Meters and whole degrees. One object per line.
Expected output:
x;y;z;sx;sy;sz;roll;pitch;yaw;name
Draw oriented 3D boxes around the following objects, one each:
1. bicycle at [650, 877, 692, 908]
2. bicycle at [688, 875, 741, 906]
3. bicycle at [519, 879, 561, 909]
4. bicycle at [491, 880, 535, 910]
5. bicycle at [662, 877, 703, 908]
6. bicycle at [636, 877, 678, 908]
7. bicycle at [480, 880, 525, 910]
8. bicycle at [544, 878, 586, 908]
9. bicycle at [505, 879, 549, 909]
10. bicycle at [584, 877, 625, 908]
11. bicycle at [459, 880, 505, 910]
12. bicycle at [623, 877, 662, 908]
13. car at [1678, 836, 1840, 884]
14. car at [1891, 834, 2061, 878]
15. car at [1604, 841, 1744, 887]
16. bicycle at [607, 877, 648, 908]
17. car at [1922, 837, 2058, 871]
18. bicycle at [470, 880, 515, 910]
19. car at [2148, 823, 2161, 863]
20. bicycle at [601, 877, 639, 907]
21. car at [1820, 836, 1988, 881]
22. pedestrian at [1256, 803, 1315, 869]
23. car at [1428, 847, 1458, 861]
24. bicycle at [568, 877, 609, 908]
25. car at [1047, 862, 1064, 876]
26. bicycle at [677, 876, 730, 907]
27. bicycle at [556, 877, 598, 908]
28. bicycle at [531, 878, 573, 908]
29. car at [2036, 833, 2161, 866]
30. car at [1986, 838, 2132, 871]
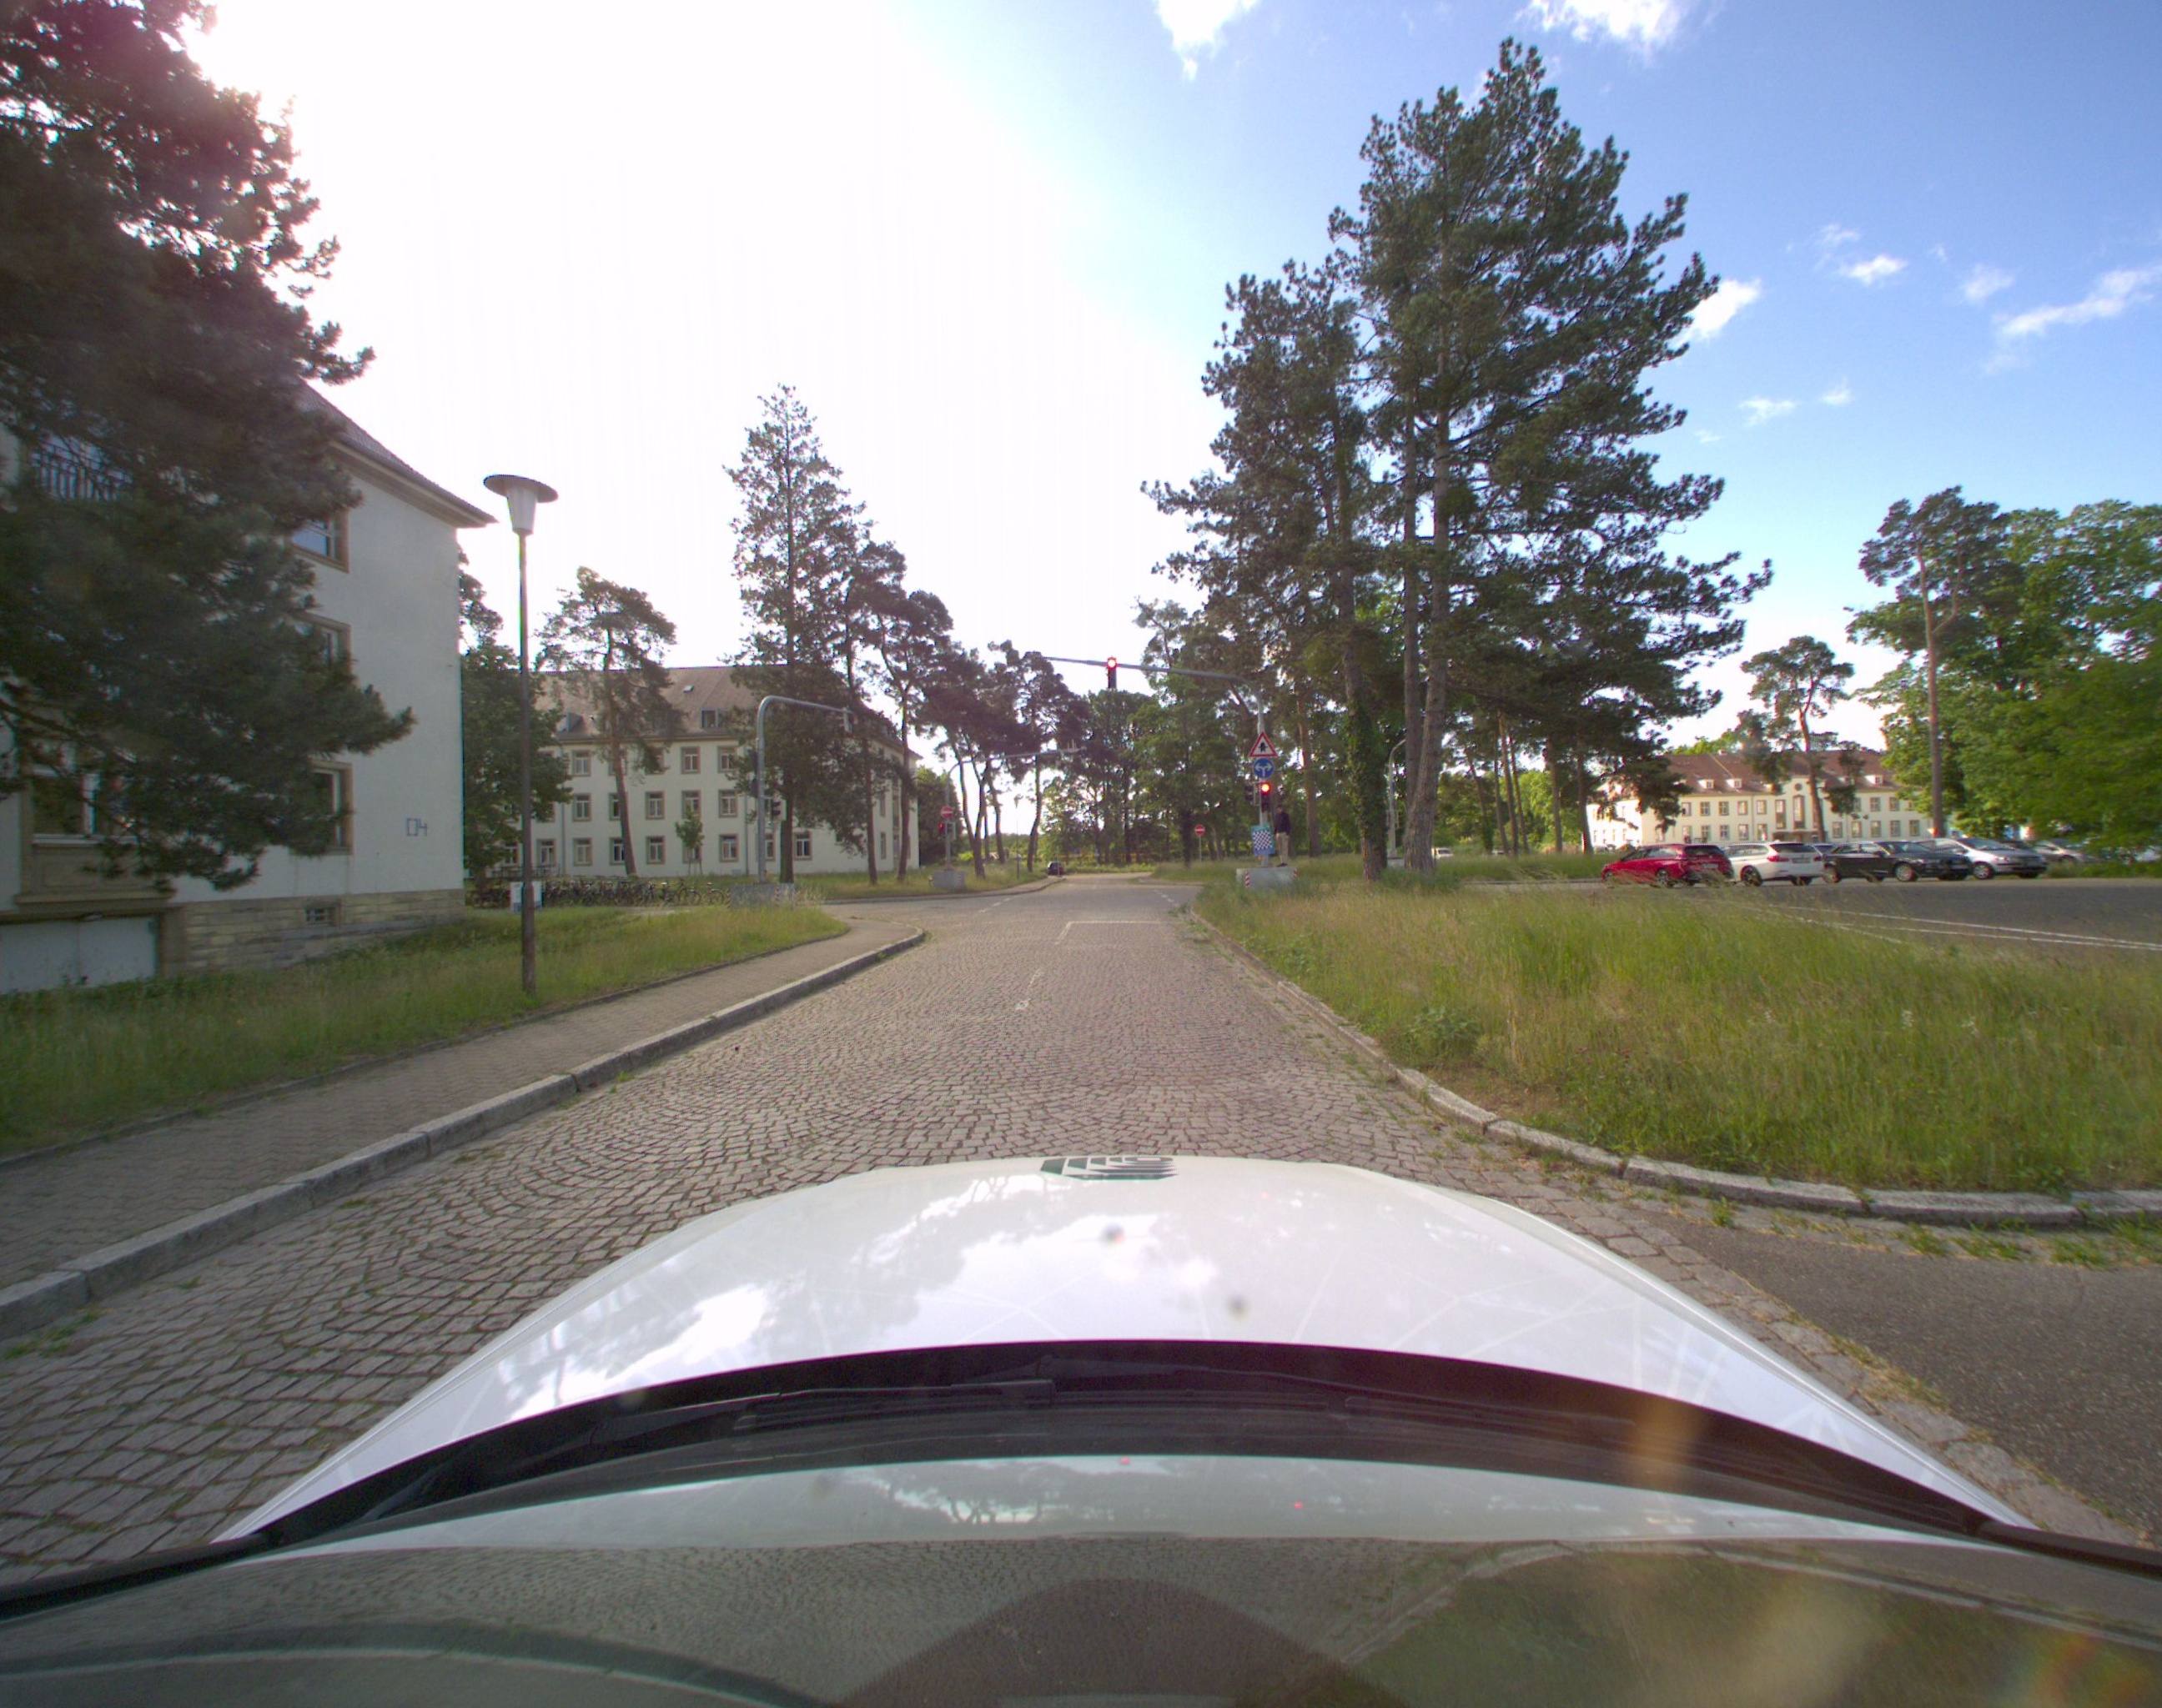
-17.480;1.629;34.786;0.630;1.220;2.124;-2;0;1;bicycle
-15.638;1.549;34.726;1.937;1.220;0.635;-2;-1;1;bicycle
-23.545;1.714;35.482;0.512;1.220;1.938;-2;0;1;bicycle
-24.746;1.772;35.504;0.512;1.220;1.938;-2;0;1;bicycle
-16.996;1.625;34.789;0.630;1.220;2.115;-2;0;1;bicycle
-18.084;1.634;34.801;0.630;1.220;2.105;-2;0;1;bicycle
-25.210;1.776;35.513;0.512;1.220;1.938;-2;0;1;bicycle
-22.447;1.664;35.435;0.512;1.220;1.955;-2;0;1;bicycle
-24.137;1.734;35.508;0.512;1.220;1.938;-2;0;1;bicycle
-20.754;1.659;35.499;0.512;1.220;2.016;-2;0;1;bicycle
-26.087;1.783;35.531;0.512;1.220;1.938;-2;0;1;bicycle
-18.928;1.643;35.198;0.570;1.220;1.990;-2;0;1;bicycle
22.186;0.267;26.906;1.773;1.379;4.240;-2;-2;0;car
30.143;0.080;27.612;1.716;1.372;3.795;0;-1;3;car
19.290;0.359;26.738;1.649;1.399;4.130;0;-1;2;car
-19.672;1.651;35.338;0.576;1.220;2.030;-2;0;1;bicycle
42.502;0.014;38.220;1.717;1.493;4.242;0;-1;2;car
-25.640;1.779;35.519;0.512;1.220;1.938;-2;0;1;bicycle
53.106;-0.567;37.449;1.978;1.948;4.746;0;-1;2;car
-20.233;1.656;35.767;0.546;1.220;1.900;-2;0;1;bicycle
27.321;0.152;27.257;1.610;1.315;4.047;-3;-1;2;car
5.820;-0.510;23.225;1.067;1.796;1.159;-2;-1;-36;pedestrian
42.642;0.044;96.039;1.820;1.582;4.164;-2;0;2;car
-21.402;1.663;35.461;0.512;1.220;1.977;-2;0;1;bicycle
-2.814;1.630;91.128;1.704;1.496;3.917;-2;0;0;car
-15.761;1.567;34.013;1.855;1.220;0.635;-2;-1;1;bicycle
-21.920;1.663;35.461;0.512;1.220;1.977;-2;0;1;bicycle
-23.001;1.688;35.453;0.512;1.220;1.938;-2;0;1;bicycle
47.892;-0.185;38.038;1.717;1.468;4.242;0;-1;2;car
44.876;0.025;37.536;1.717;1.425;4.242;0;0;2;car
